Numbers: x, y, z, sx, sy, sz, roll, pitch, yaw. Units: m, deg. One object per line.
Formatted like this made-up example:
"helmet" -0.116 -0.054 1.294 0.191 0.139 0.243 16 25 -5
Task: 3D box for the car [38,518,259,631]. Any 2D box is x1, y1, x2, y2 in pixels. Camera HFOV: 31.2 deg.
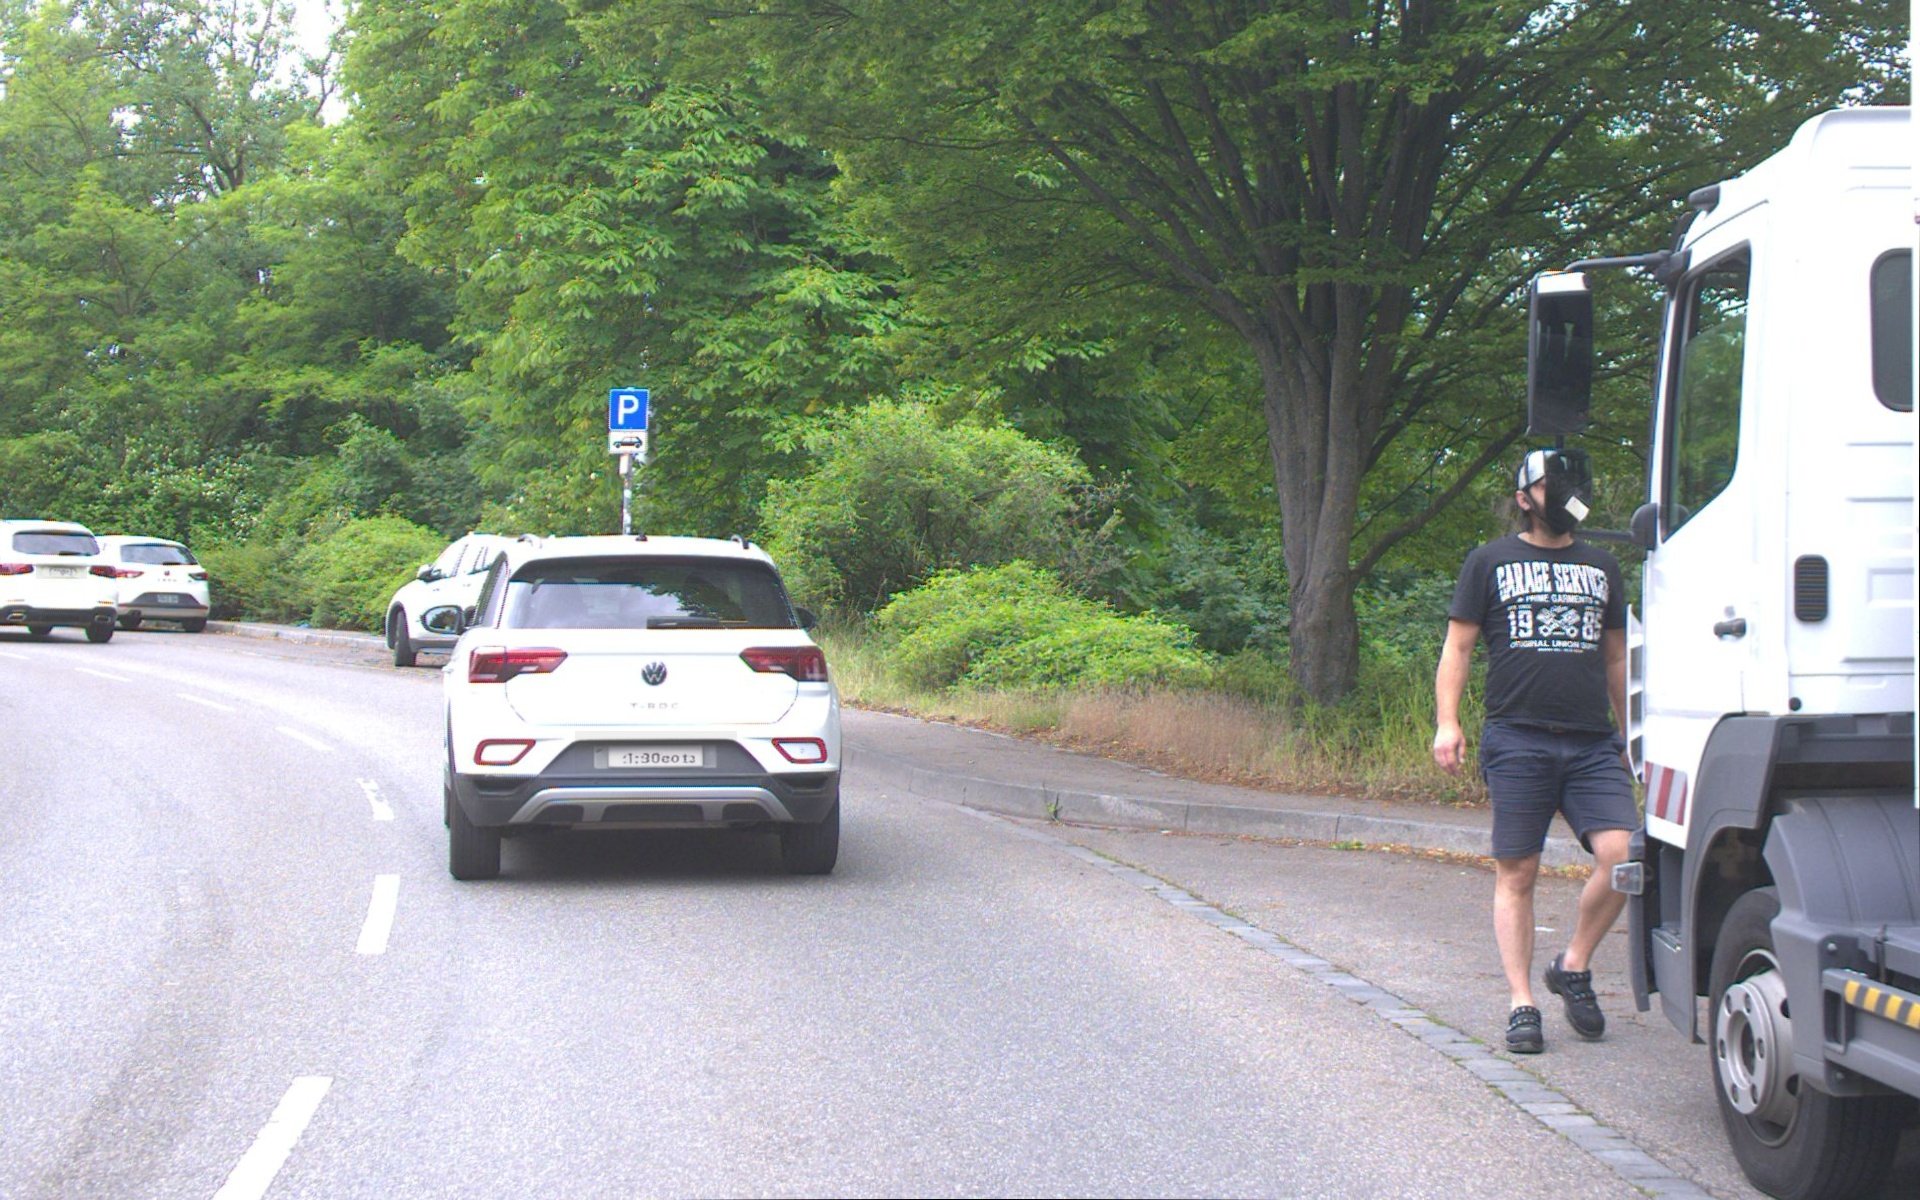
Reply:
"car" -12.733 -0.425 53.750 1.733 1.477 4.701 4 1 -34

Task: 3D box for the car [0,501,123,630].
"car" -13.066 -0.505 47.437 1.851 1.697 4.000 0 1 -31

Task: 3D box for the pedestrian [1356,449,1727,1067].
"pedestrian" 1.795 0.471 10.771 0.916 1.828 0.984 2 0 -2

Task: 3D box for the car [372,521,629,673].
"car" -5.403 -0.071 39.957 1.758 1.646 4.382 1 1 -24

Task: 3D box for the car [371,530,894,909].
"car" -1.719 0.478 16.682 2.000 1.590 4.001 1 1 -13

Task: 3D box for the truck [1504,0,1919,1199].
"truck" 3.069 -0.357 6.898 2.482 3.171 7.230 0 1 -3
